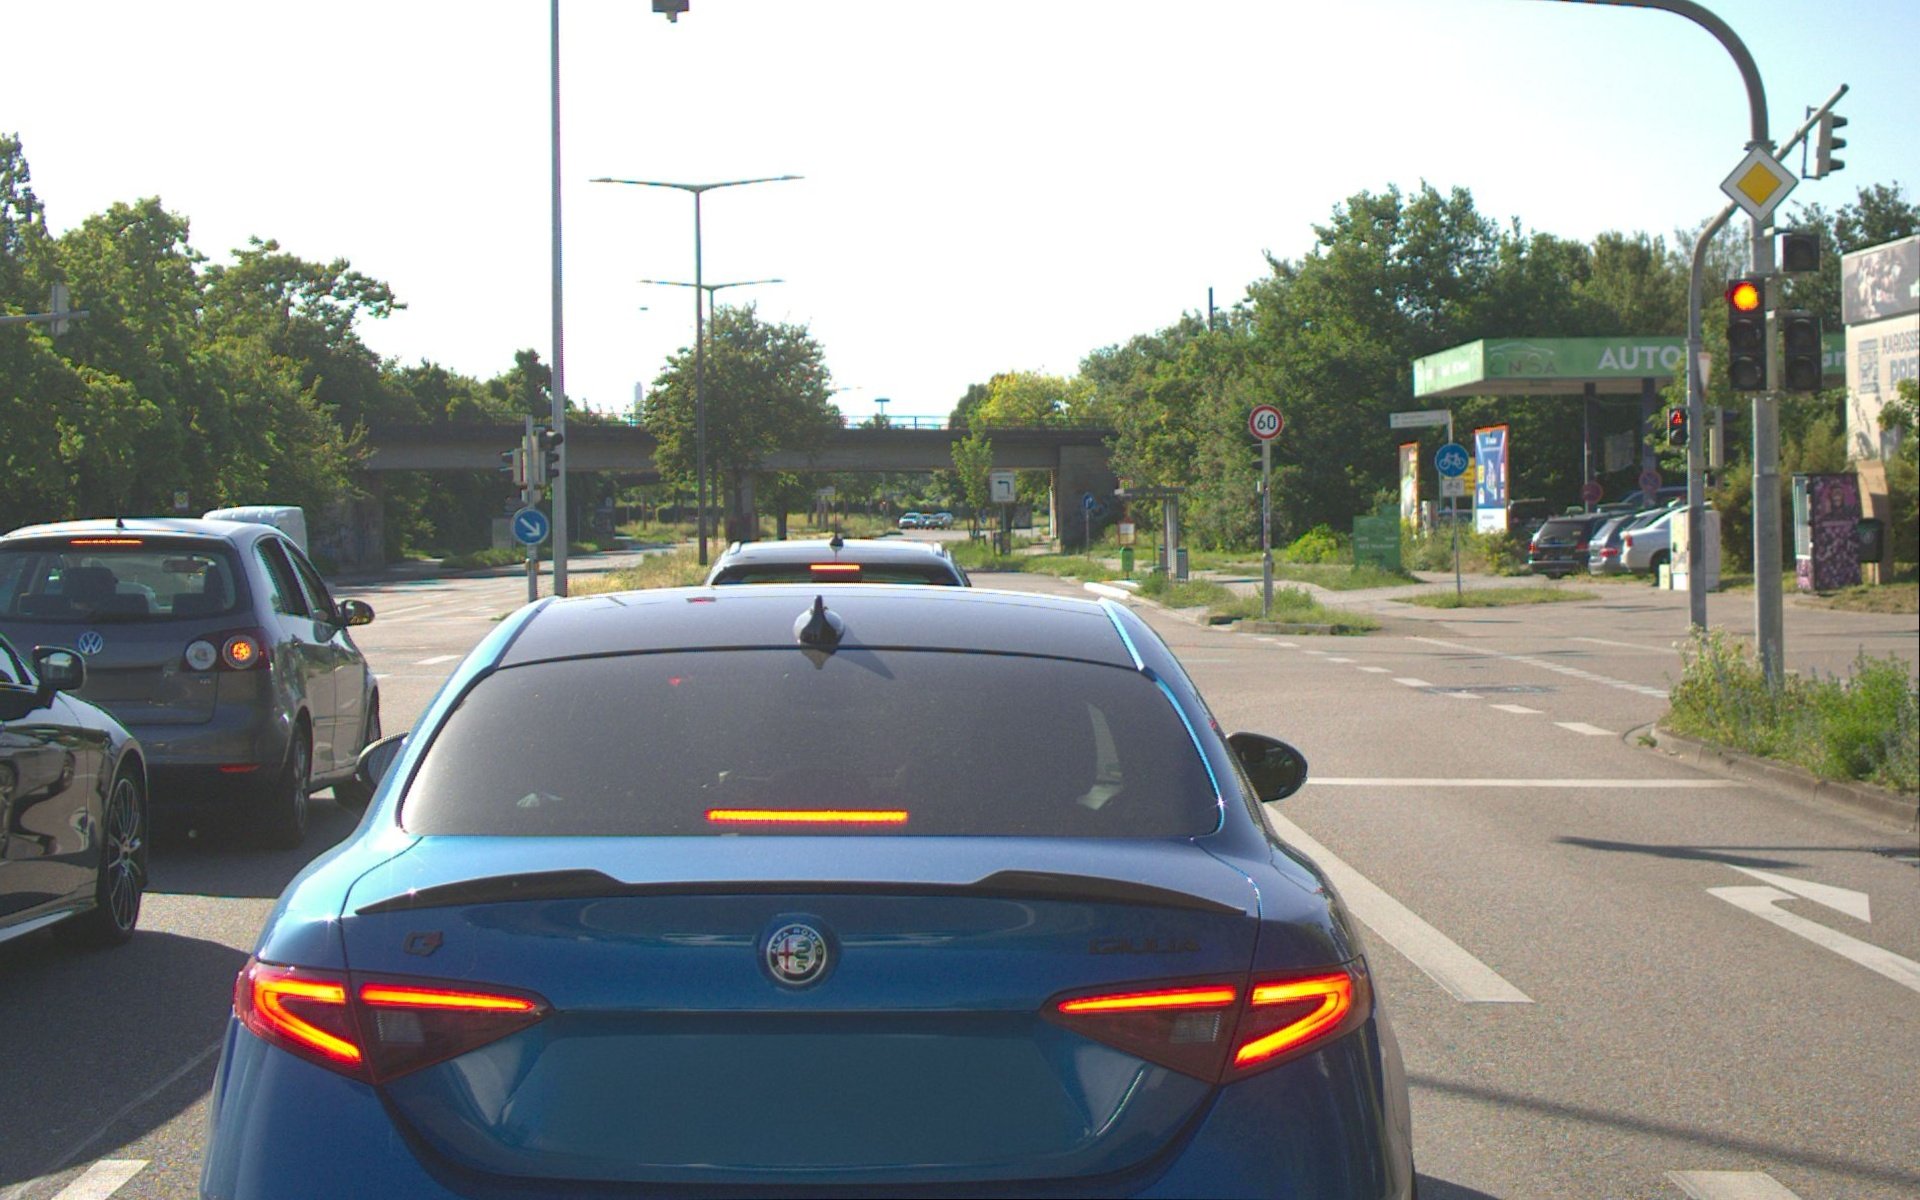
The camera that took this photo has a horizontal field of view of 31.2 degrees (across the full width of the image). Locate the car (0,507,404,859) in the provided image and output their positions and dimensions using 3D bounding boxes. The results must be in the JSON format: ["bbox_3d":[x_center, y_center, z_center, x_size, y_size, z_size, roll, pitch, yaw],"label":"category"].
[{"bbox_3d":[-3.969,0.336,17.564,1.648,1.593,3.932,0,1,-1],"label":"car"}]

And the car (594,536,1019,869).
[{"bbox_3d":[-0.697,0.416,17.069,1.866,1.445,3.932,0,1,-1],"label":"car"}]

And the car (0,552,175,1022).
[{"bbox_3d":[-3.804,0.576,10.631,1.768,1.409,4.461,0,1,-1],"label":"car"}]

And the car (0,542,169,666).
[{"bbox_3d":[-12.741,0.040,45.633,4.037,1.589,1.825,-1,1,-28],"label":"car"}]

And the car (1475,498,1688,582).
[{"bbox_3d":[12.824,-1.247,70.953,3.986,1.700,1.696,-1,1,-19],"label":"car"}]

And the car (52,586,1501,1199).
[{"bbox_3d":[-0.260,0.701,6.406,1.866,1.380,3.932,0,1,-1],"label":"car"}]

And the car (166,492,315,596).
[{"bbox_3d":[-17.387,-1.376,83.389,2.431,2.418,5.831,0,1,-1],"label":"car"}]

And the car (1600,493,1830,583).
[{"bbox_3d":[14.515,-1.194,66.097,3.986,1.700,1.696,-1,1,-16],"label":"car"}]

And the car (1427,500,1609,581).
[{"bbox_3d":[12.024,-1.284,74.143,3.483,1.700,1.696,-1,1,-16],"label":"car"}]
